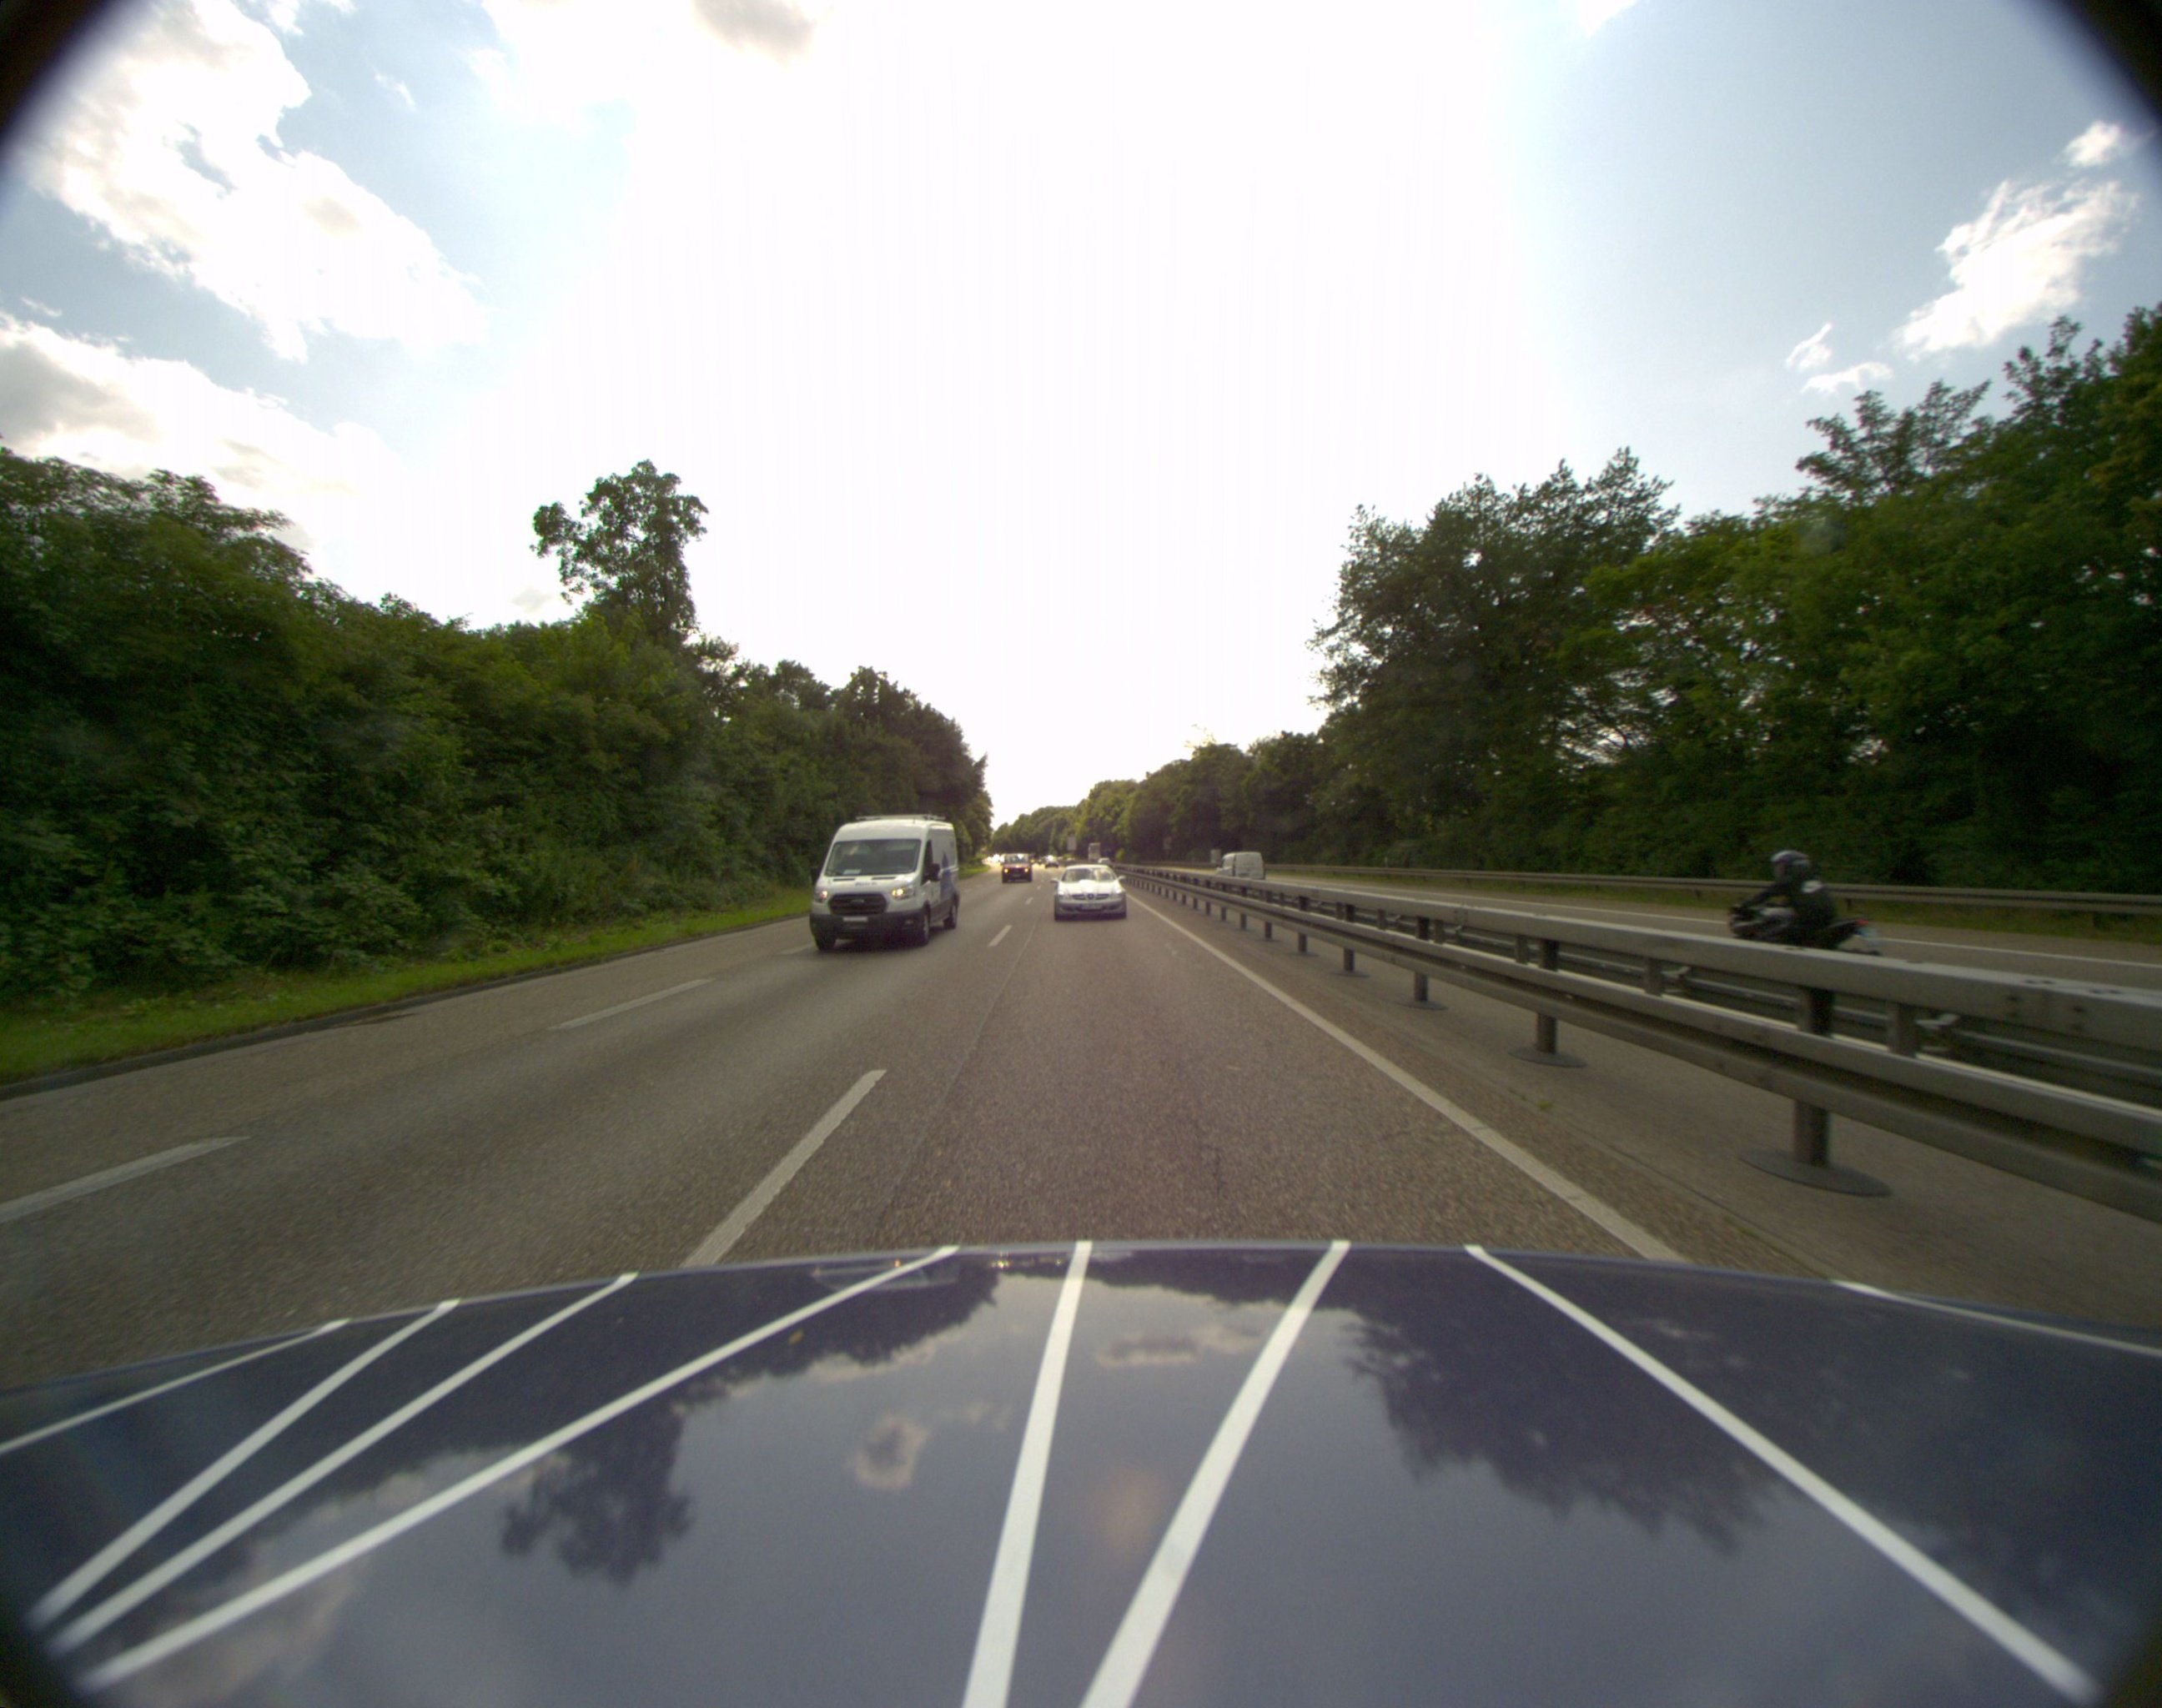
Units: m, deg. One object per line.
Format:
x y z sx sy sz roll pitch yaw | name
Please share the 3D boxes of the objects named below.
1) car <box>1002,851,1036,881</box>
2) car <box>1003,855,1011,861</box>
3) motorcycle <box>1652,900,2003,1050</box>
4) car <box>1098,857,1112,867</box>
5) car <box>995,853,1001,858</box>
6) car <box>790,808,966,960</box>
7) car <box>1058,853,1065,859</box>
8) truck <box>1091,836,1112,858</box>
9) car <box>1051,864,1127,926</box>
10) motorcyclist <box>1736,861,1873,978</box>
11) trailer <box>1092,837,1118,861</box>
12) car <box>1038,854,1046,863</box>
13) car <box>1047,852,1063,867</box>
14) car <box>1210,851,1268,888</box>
-4.048 0.767 50.339 1.909 1.795 4.394 -2 0 -2 | car
-17.881 1.001 184.534 1.786 1.512 3.998 -1 0 -4 | car
8.057 1.215 8.553 1.002 1.194 2.997 -1 0 0 | motorcycle
3.545 1.158 111.355 1.682 1.422 4.549 -2 0 -2 | car
-25.696 0.611 234.535 1.786 1.512 3.998 -1 0 -5 | car
-3.843 0.503 15.523 2.104 2.493 5.278 -2 0 0 | car
-5.301 0.482 206.538 1.861 1.506 3.992 -1 0 -3 | car
3.844 -1.383 146.707 3.384 4.073 6.127 -2 1 -4 | truck
0.175 0.998 20.486 1.751 1.295 5.223 -2 0 0 | car
7.925 0.697 8.356 0.827 1.219 0.720 -1 1 0 | motorcyclist
4.311 -0.988 139.905 3.414 4.056 12.973 -2 1 -4 | trailer
-6.965 0.866 135.606 1.473 1.560 3.294 0 0 -2 | car
-3.653 0.705 104.822 1.999 2.002 3.998 -1 0 -5 | car
8.260 0.747 40.292 1.849 1.808 5.477 -1 0 -1 | car
